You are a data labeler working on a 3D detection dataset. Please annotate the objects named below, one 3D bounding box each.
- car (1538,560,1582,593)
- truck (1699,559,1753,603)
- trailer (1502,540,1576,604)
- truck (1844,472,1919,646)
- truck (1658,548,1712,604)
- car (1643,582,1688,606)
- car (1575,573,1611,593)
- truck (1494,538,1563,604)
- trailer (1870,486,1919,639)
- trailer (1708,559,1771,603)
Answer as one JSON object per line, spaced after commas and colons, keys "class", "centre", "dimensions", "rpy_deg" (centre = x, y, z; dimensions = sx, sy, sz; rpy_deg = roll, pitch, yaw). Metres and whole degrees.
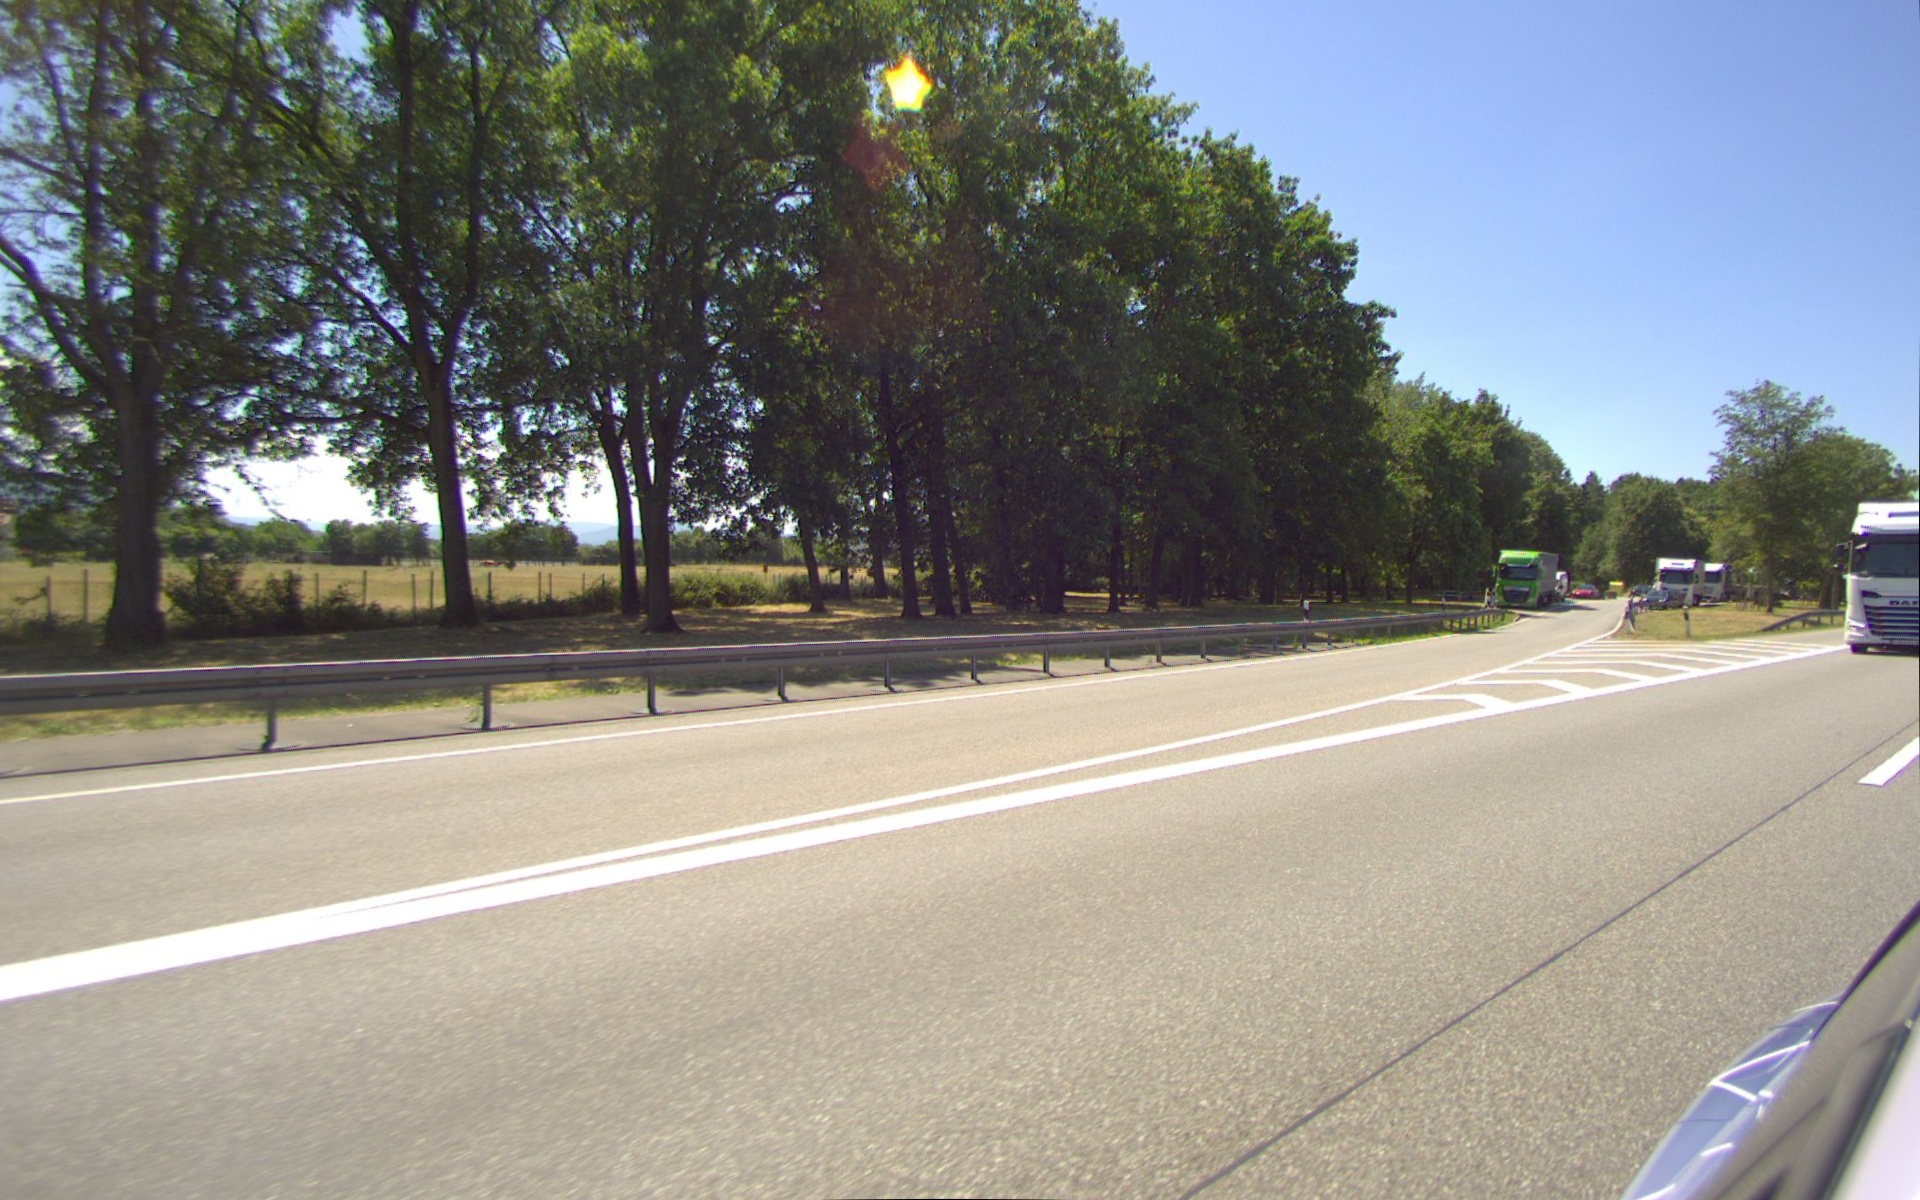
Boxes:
{"class": "car", "centre": [51.158, -1.992, 86.193], "dimensions": [2.303, 2.614, 6.558], "rpy_deg": [4, 3, 38]}
{"class": "truck", "centre": [80.317, -1.999, 106.033], "dimensions": [3.385, 4.519, 8.101], "rpy_deg": [2, 2, 45]}
{"class": "trailer", "centre": [42.979, -1.986, 74.871], "dimensions": [3.373, 4.312, 12.975], "rpy_deg": [0, 0, 36]}
{"class": "truck", "centre": [26.259, -1.048, 27.306], "dimensions": [6.747, 4.326, 2.860], "rpy_deg": [-1, 0, -42]}
{"class": "truck", "centre": [60.969, -1.974, 85.073], "dimensions": [3.377, 4.519, 7.287], "rpy_deg": [0, 0, 38]}
{"class": "car", "centre": [54.792, -0.486, 78.557], "dimensions": [4.604, 1.731, 1.995], "rpy_deg": [-1, 4, -45]}
{"class": "car", "centre": [61.611, -1.672, 98.489], "dimensions": [2.140, 1.774, 4.797], "rpy_deg": [4, 4, 41]}
{"class": "truck", "centre": [39.094, -1.920, 69.482], "dimensions": [3.374, 4.312, 6.531], "rpy_deg": [0, 0, 36]}
{"class": "trailer", "centre": [32.892, -1.132, 33.330], "dimensions": [14.725, 4.326, 2.860], "rpy_deg": [-1, 0, -42]}
{"class": "trailer", "centre": [87.088, -2.083, 112.922], "dimensions": [3.385, 4.519, 17.835], "rpy_deg": [2, 2, 45]}
